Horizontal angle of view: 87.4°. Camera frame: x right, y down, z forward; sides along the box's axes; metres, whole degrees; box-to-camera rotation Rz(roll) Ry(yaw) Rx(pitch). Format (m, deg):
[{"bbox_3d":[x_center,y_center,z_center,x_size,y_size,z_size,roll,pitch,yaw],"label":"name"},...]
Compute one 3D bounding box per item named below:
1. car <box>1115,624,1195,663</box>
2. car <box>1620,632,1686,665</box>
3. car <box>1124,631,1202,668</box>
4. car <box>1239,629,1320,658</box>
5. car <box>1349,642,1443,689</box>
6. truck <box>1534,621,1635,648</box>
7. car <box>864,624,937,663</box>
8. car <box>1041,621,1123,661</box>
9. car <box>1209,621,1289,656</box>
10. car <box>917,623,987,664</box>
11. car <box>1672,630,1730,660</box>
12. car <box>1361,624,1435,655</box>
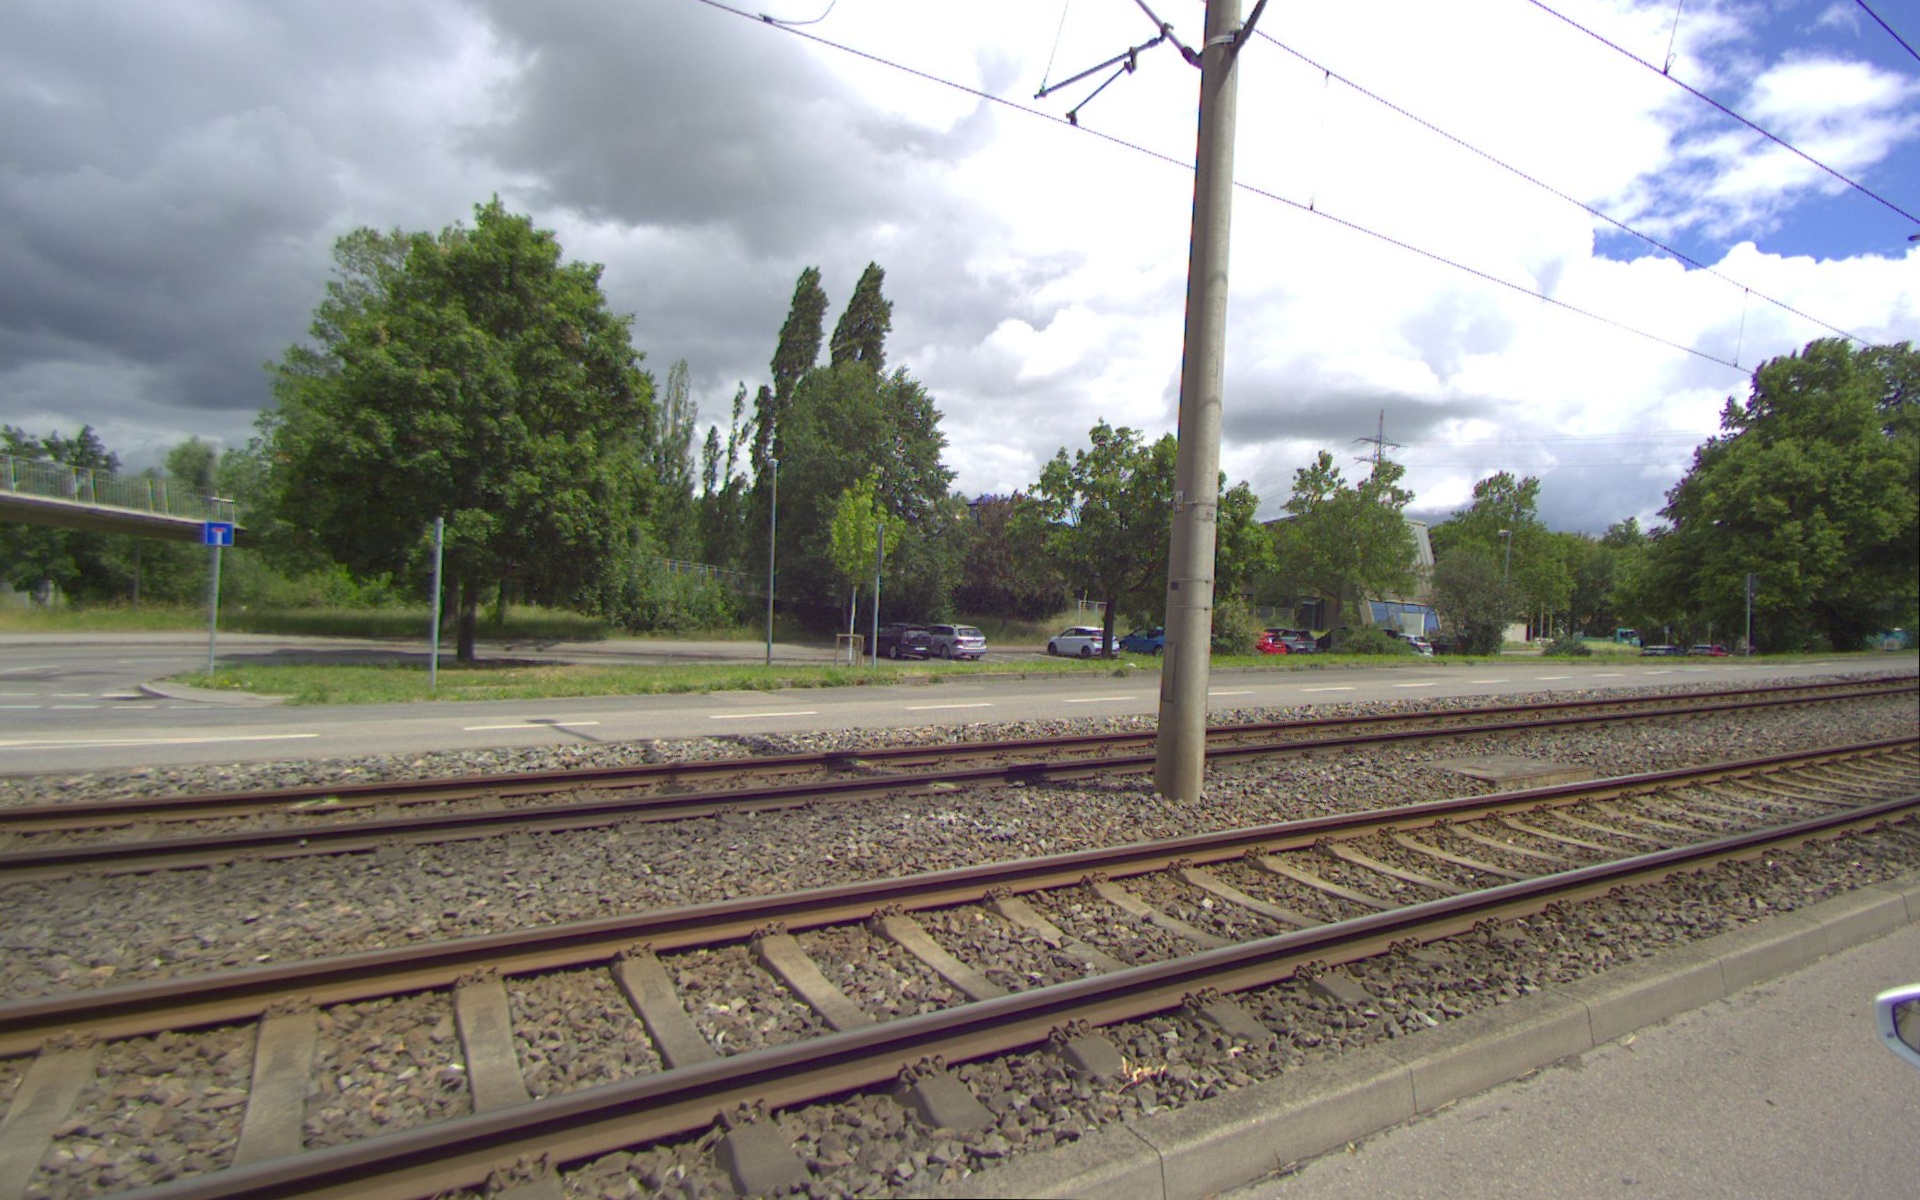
[{"bbox_3d":[9.532,2.109,49.358,1.845,1.601,3.940,1,2,-26],"label":"car"},{"bbox_3d":[41.199,2.843,59.724,3.955,1.795,1.806,1,0,-32],"label":"car"},{"bbox_3d":[10.537,2.539,52.466,1.967,1.601,3.940,1,2,-26],"label":"car"},{"bbox_3d":[17.460,2.334,55.117,1.970,1.269,4.067,1,2,-26],"label":"car"},{"bbox_3d":[19.465,2.884,44.796,4.027,1.779,1.977,0,2,-34],"label":"car"},{"bbox_3d":[67.532,3.698,108.859,2.595,2.731,9.010,1,-2,-41],"label":"truck"},{"bbox_3d":[-2.573,1.820,42.593,1.754,1.293,3.952,4,0,-25],"label":"car"},{"bbox_3d":[5.738,1.911,47.604,1.822,1.601,3.893,0,2,-33],"label":"car"},{"bbox_3d":[15.467,2.036,53.996,1.970,1.601,3.940,1,2,-26],"label":"car"},{"bbox_3d":[-0.403,1.852,43.443,1.552,1.409,3.857,4,0,-25],"label":"car"},{"bbox_3d":[47.047,2.812,63.735,3.960,1.795,1.804,1,0,-35],"label":"car"},{"bbox_3d":[26.942,2.411,61.953,1.833,1.620,3.976,2,1,-24],"label":"car"}]
